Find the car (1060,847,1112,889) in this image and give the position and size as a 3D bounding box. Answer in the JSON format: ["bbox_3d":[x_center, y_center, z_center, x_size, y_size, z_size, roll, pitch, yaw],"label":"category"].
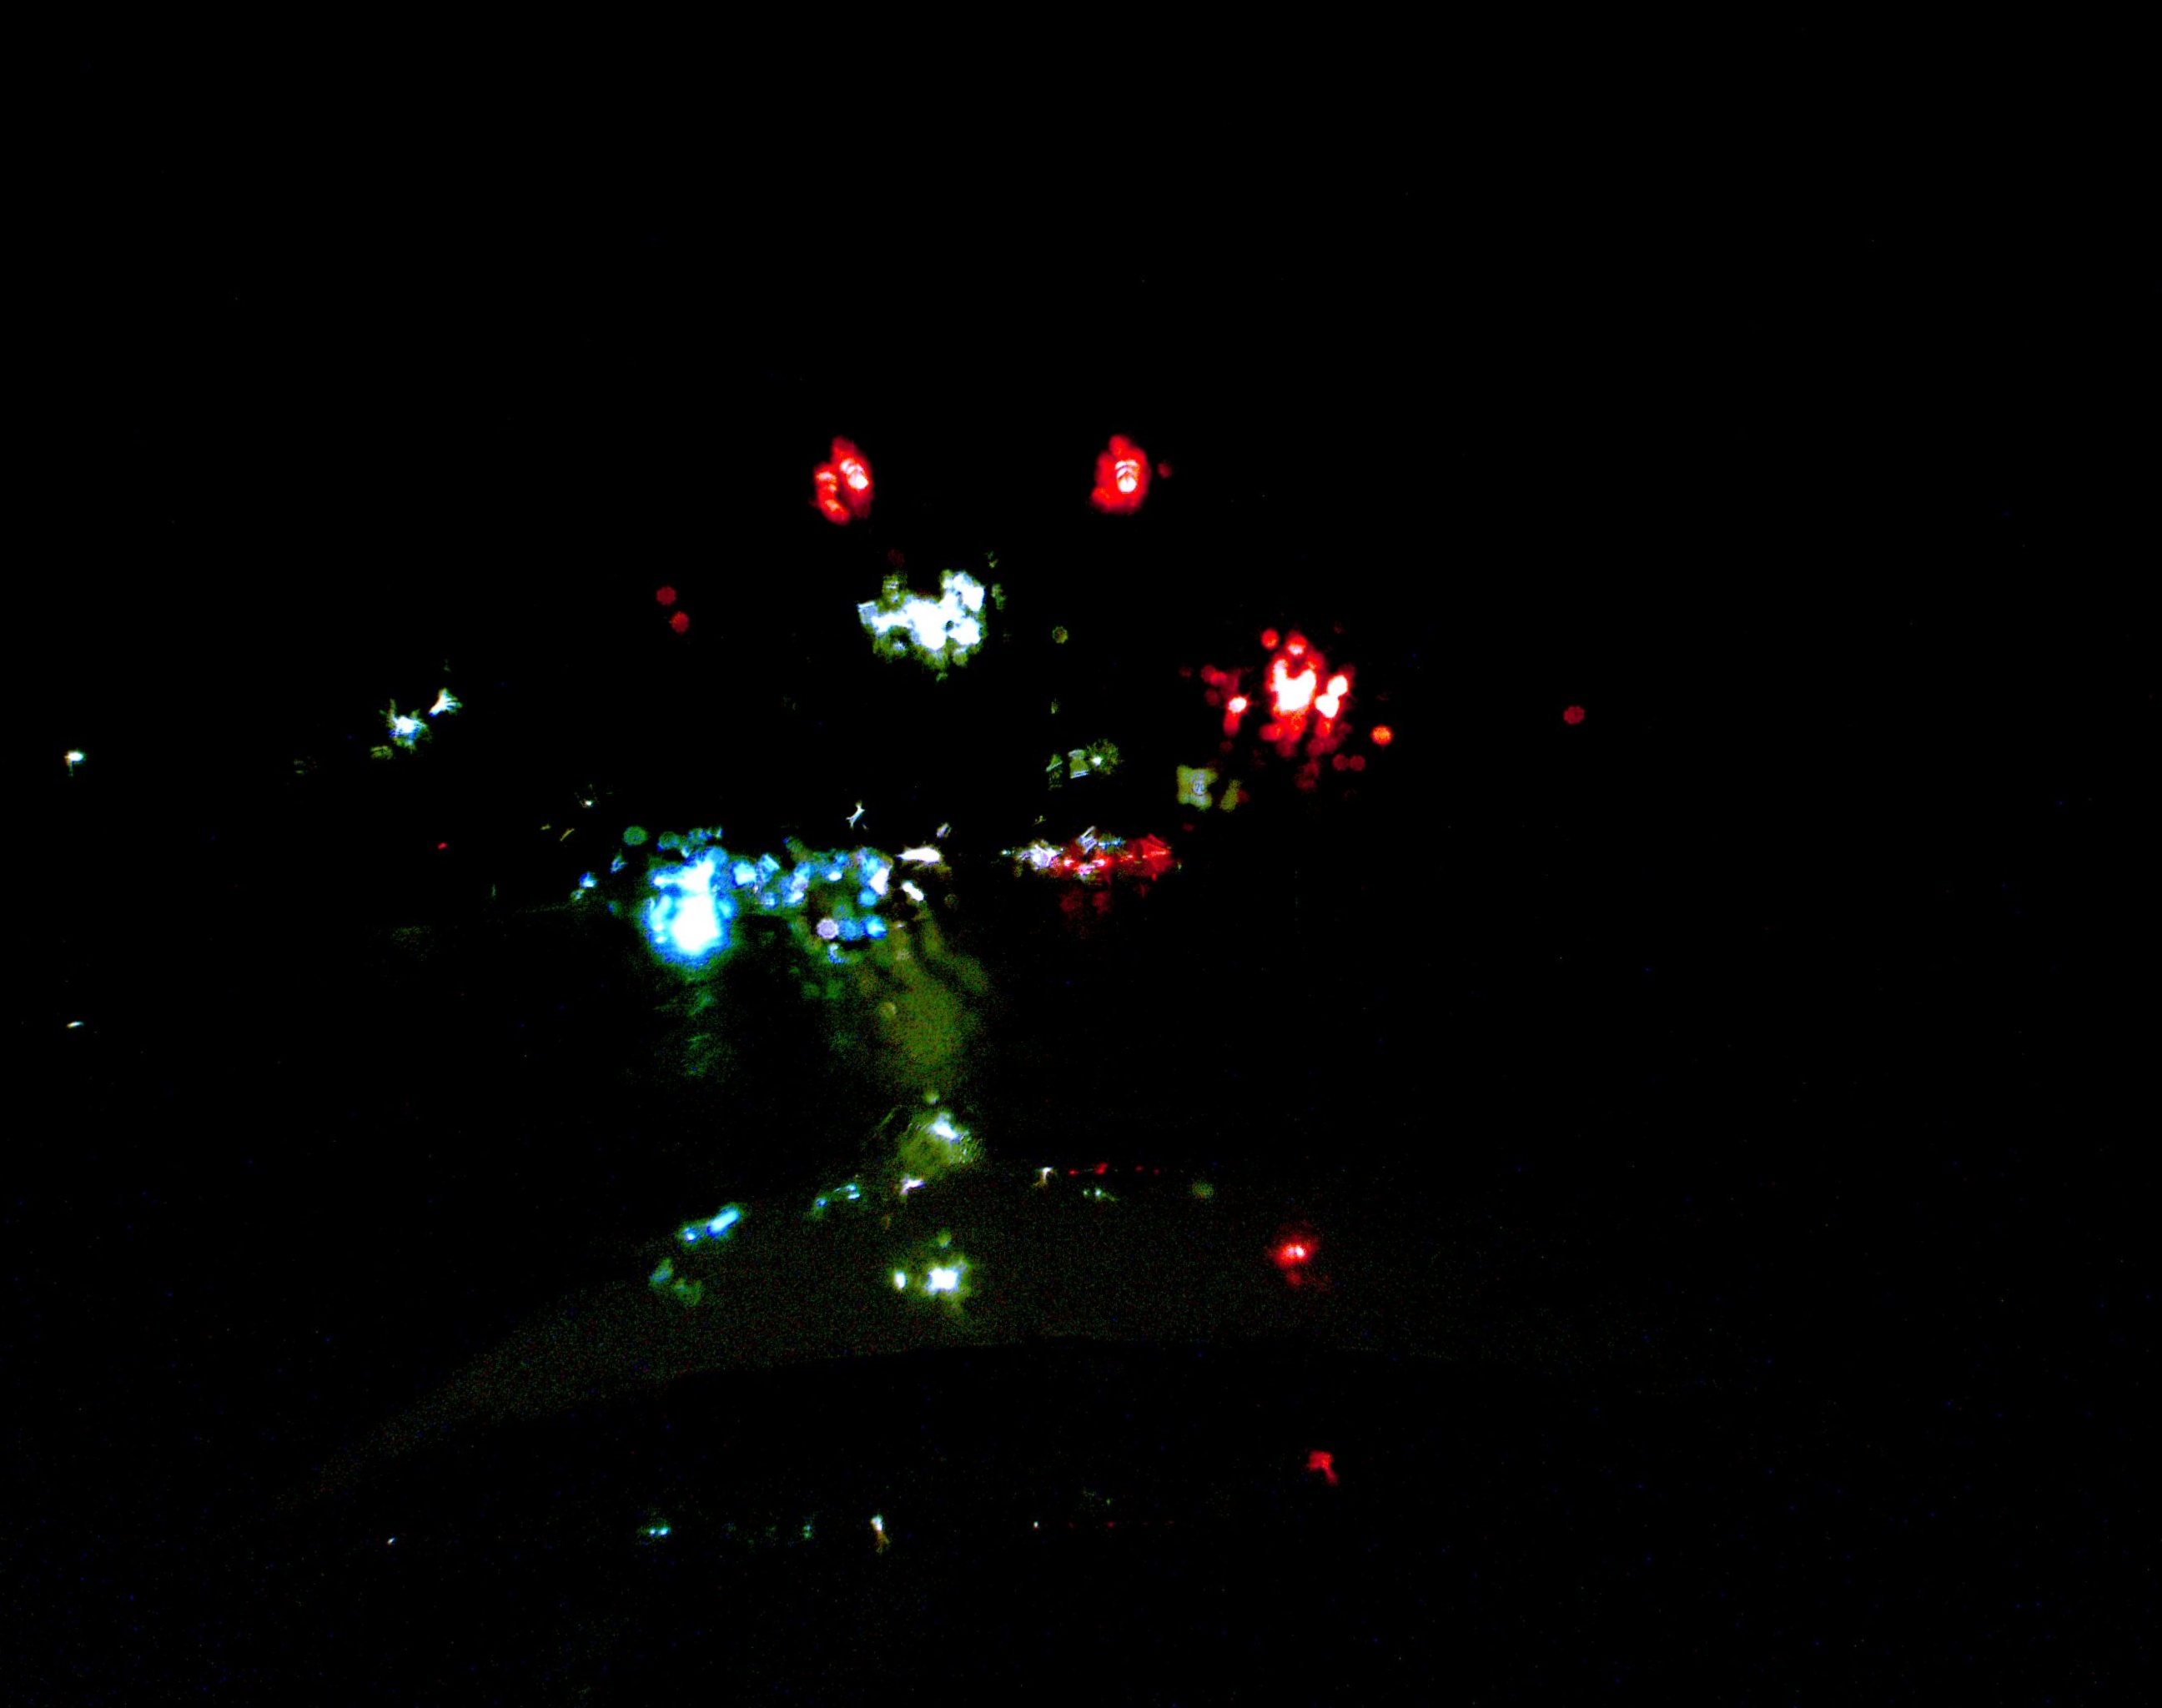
[{"bbox_3d":[0.261,0.567,33.864,1.986,1.611,4.104,-1,-1,2],"label":"car"}]

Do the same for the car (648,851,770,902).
[{"bbox_3d":[-12.728,0.705,28.232,1.785,1.571,4.916,-1,0,2],"label":"car"}]

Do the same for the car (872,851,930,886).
[{"bbox_3d":[-8.436,0.683,38.535,1.577,1.526,3.658,-1,-1,6],"label":"car"}]

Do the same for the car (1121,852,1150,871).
[{"bbox_3d":[4.229,0.607,63.702,2.095,1.439,4.002,-1,-1,2],"label":"car"}]

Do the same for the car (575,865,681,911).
[{"bbox_3d":[-20.397,1.493,36.710,4.017,1.831,1.703,-2,0,-35],"label":"car"}]

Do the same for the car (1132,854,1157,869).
[{"bbox_3d":[5.751,0.686,74.572,2.099,1.339,4.296,-1,-1,2],"label":"car"}]

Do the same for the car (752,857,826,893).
[{"bbox_3d":[-12.518,0.899,35.146,1.661,1.454,3.730,-1,-1,3],"label":"car"}]

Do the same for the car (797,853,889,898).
[{"bbox_3d":[-9.029,0.765,31.351,1.690,1.571,4.720,-1,0,6],"label":"car"}]

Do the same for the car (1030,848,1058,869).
[{"bbox_3d":[-3.170,0.397,70.827,1.708,1.703,4.151,-1,-1,7],"label":"car"}]
